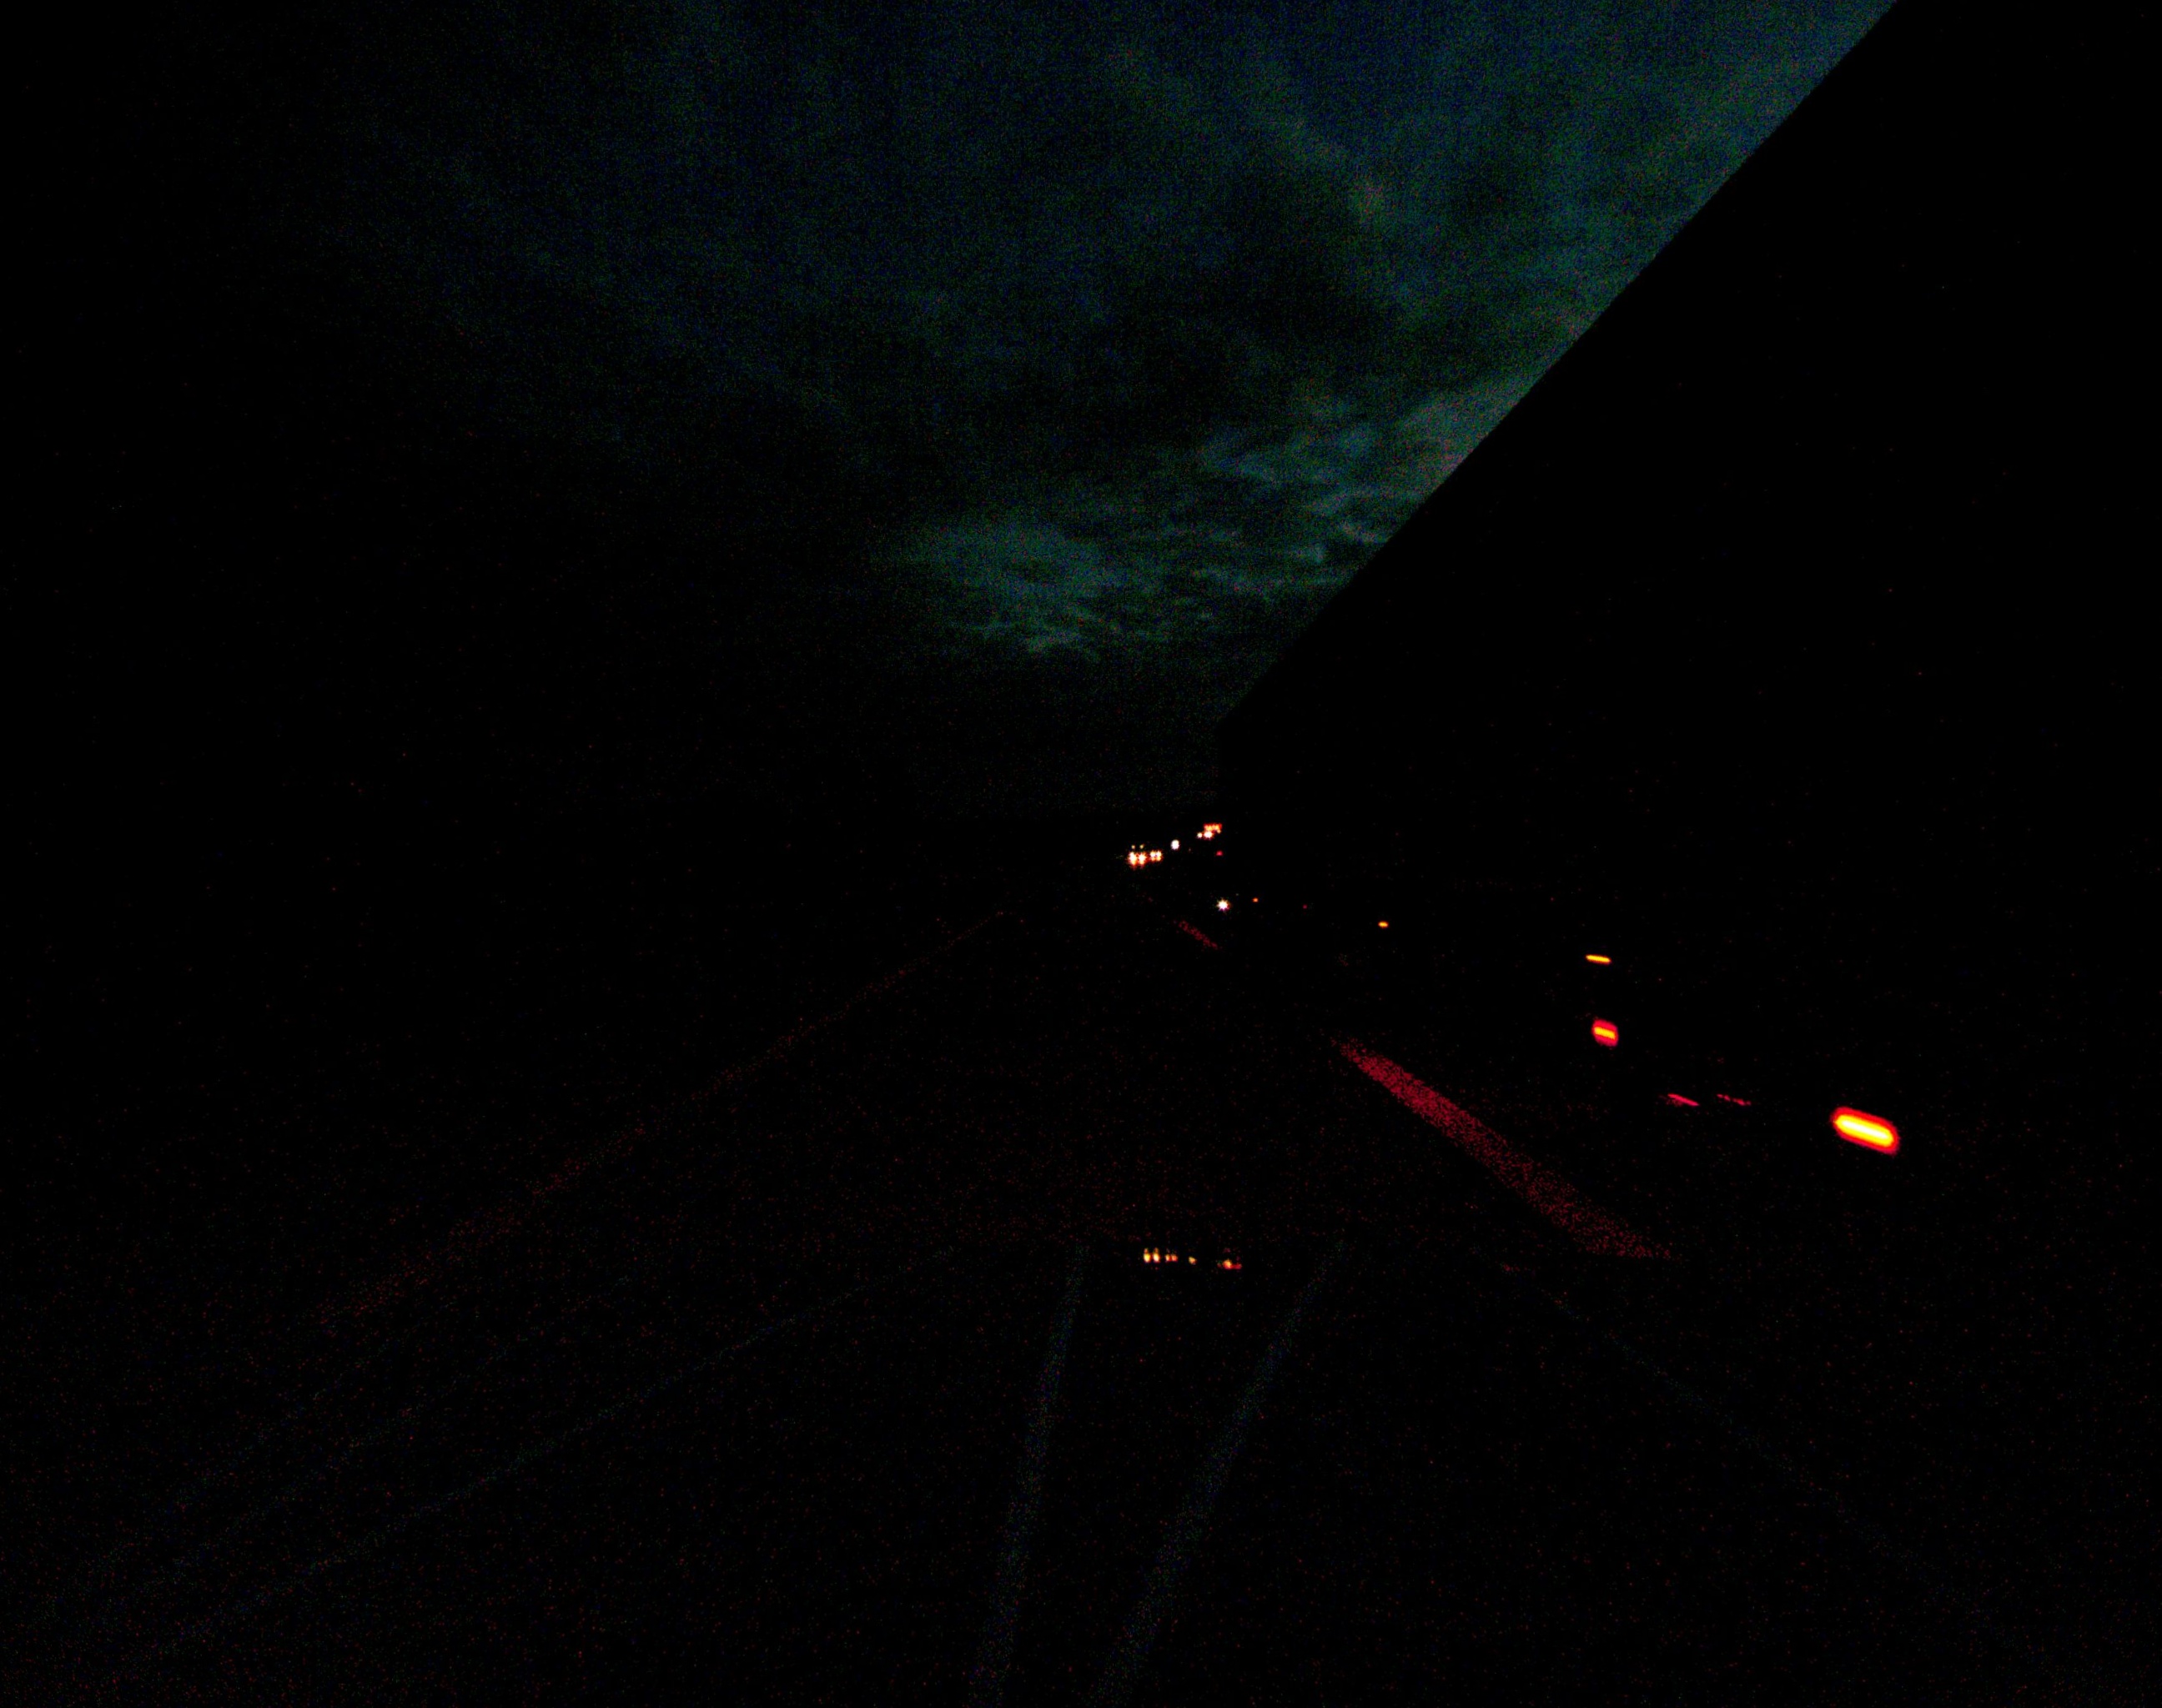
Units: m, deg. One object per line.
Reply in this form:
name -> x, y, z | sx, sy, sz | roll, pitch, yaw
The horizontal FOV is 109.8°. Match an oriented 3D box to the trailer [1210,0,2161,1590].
trailer -> 3.804, -0.375, 7.091 | 2.781, 3.892, 14.819 | -2, 0, 1

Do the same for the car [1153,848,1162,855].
car -> 21.429, -0.687, 212.098 | 1.998, 2.002, 3.999 | -2, 1, 0

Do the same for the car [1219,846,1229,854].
car -> 34.977, -1.013, 185.914 | 1.998, 2.002, 4.001 | -1, 0, 5

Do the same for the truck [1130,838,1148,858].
truck -> 13.572, -1.405, 177.692 | 3.353, 4.293, 11.325 | -2, 0, 1

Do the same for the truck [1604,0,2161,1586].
truck -> 3.721, -0.347, 0.288 | 2.786, 3.879, 6.154 | -2, 0, 1
